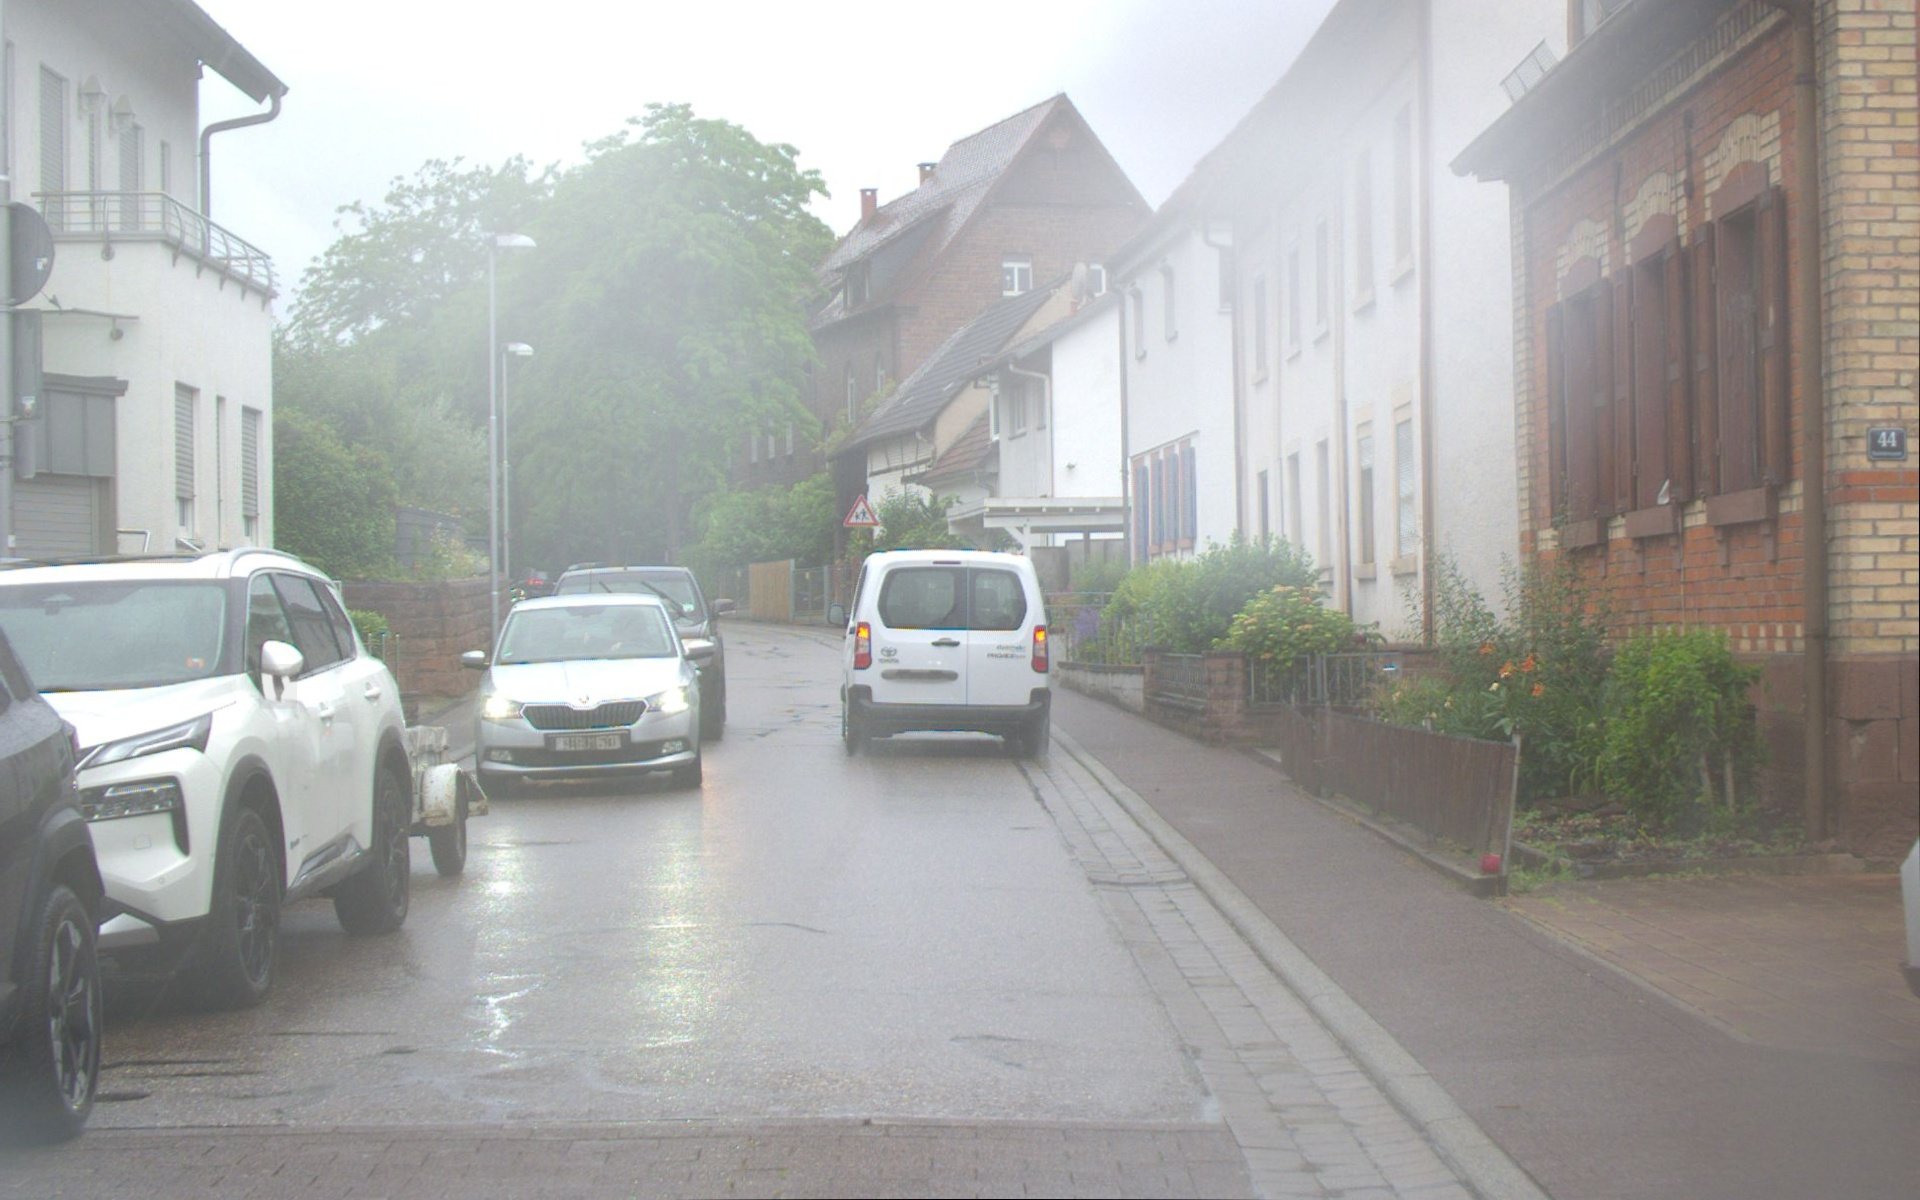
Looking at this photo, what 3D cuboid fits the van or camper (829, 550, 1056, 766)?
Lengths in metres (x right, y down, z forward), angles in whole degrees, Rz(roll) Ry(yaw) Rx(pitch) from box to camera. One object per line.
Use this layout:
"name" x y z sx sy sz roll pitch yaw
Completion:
"van or camper" -0.165 0.469 31.366 1.943 1.845 4.000 0 1 0

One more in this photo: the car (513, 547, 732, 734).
"car" -3.326 0.338 34.630 1.993 1.672 4.784 -2 1 -4

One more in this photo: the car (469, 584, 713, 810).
"car" -2.816 0.696 26.518 1.688 1.559 3.935 -2 0 -5

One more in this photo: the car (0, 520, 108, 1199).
"car" -3.237 0.729 7.792 1.812 1.773 4.018 -2 1 -4

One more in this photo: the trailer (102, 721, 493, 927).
"trailer" -3.322 1.110 17.636 1.483 0.826 2.676 -3 -1 -1

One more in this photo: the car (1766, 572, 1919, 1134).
"car" 4.462 0.795 8.865 1.871 1.584 4.619 -1 3 -33

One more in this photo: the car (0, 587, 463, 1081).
"car" -3.287 0.830 13.918 1.748 1.631 4.418 -4 0 1
